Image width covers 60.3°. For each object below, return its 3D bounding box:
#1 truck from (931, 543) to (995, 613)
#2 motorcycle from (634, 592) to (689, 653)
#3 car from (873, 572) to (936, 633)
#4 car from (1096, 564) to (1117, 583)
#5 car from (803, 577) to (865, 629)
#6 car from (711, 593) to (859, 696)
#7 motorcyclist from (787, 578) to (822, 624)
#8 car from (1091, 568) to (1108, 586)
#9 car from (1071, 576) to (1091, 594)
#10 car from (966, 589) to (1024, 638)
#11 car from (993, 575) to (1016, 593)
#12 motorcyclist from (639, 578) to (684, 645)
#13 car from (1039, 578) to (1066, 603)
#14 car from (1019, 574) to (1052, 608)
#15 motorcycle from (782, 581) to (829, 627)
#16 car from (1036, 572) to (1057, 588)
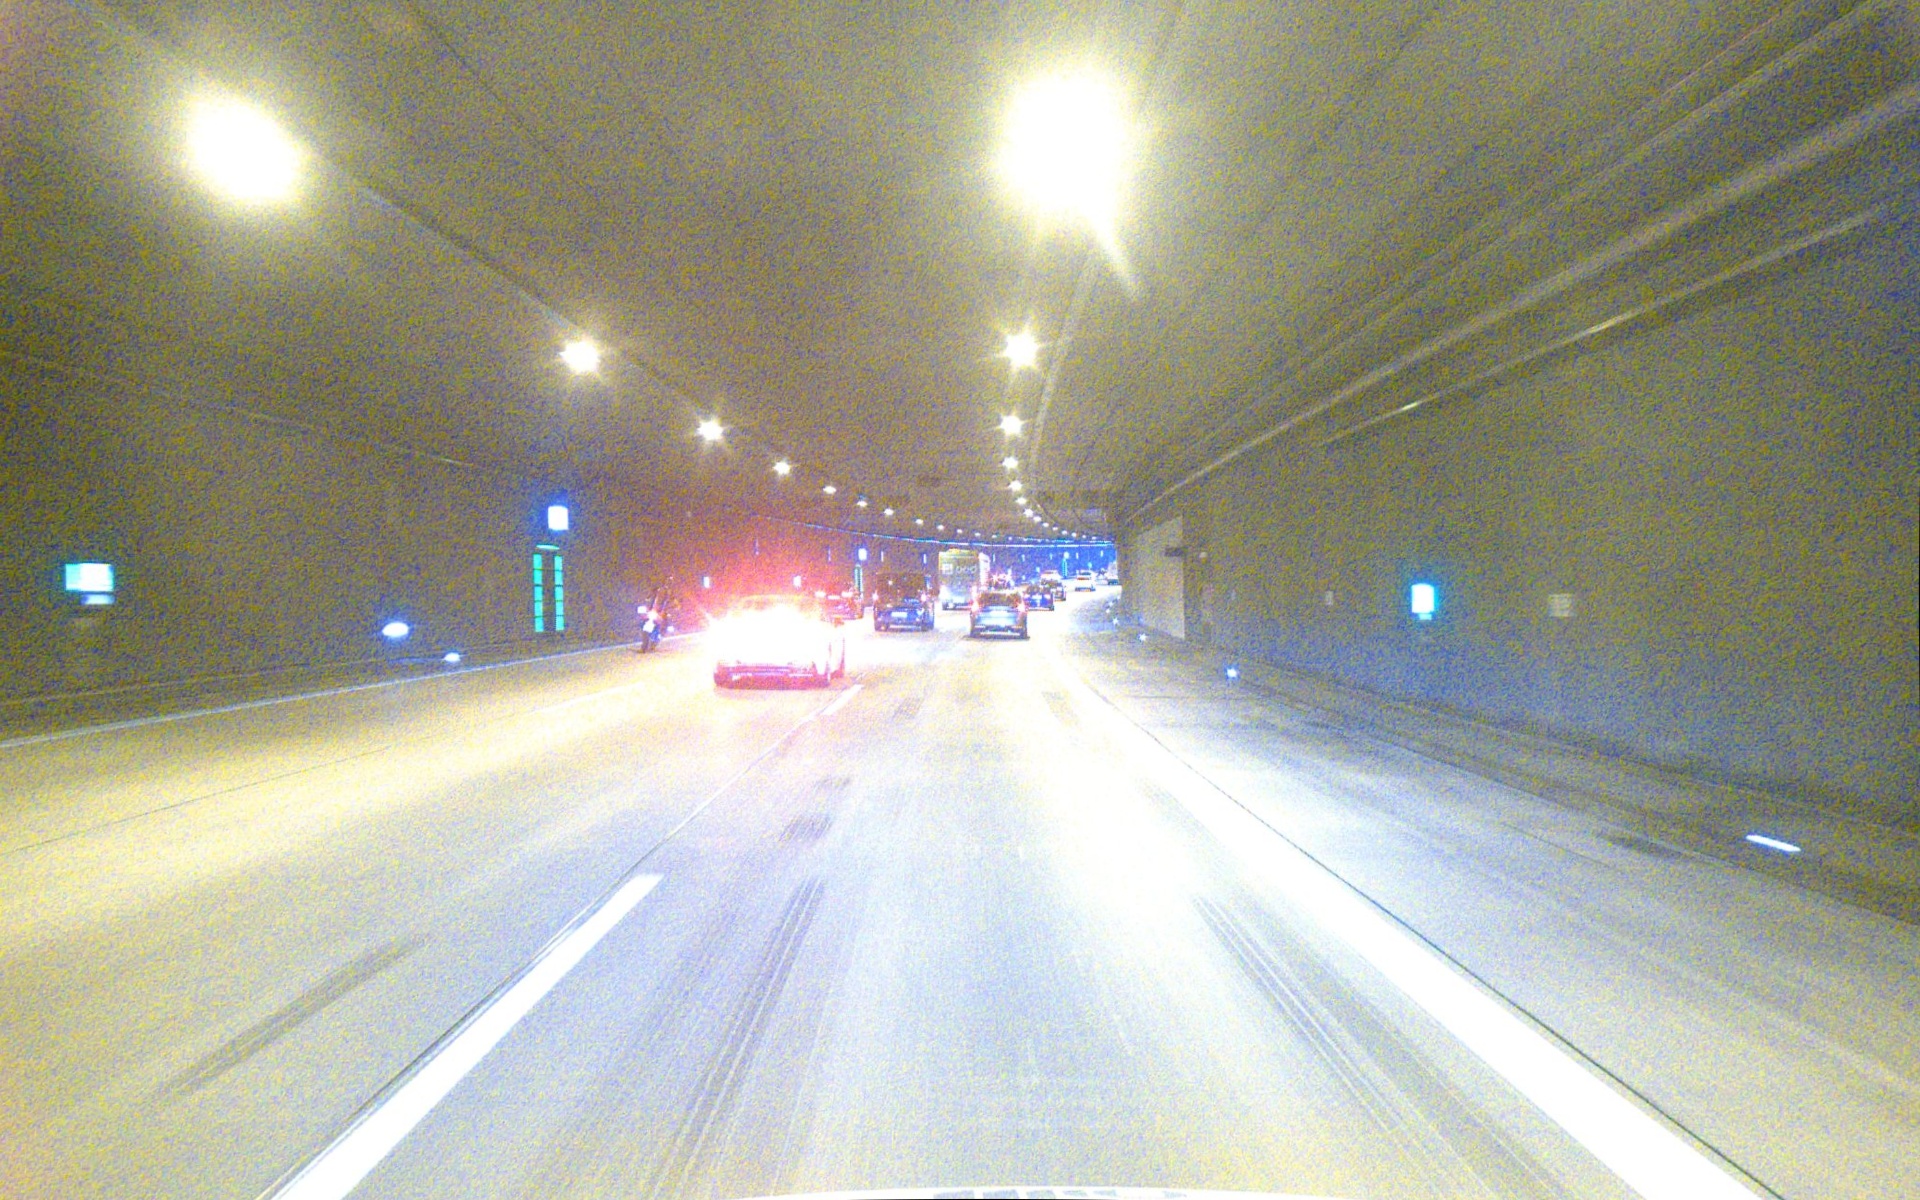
[{"bbox_3d":[0.252,-1.215,93.531,2.975,3.737,7.397,1,0,5],"label":"truck"},{"bbox_3d":[-6.663,0.494,37.021,0.668,1.319,2.399,1,0,2],"label":"motorcycle"},{"bbox_3d":[-1.877,0.051,57.099,1.870,1.978,3.873,0,2,3],"label":"car"},{"bbox_3d":[16.783,-2.989,189.942,1.951,2.049,4.003,1,-1,11],"label":"car"},{"bbox_3d":[-5.133,0.113,67.791,1.952,2.049,4.002,1,0,3],"label":"car"},{"bbox_3d":[-2.756,0.649,27.070,1.666,1.443,5.062,0,1,3],"label":"car"},{"bbox_3d":[-5.111,0.058,54.551,0.789,1.473,1.866,1,-1,6],"label":"motorcyclist"},{"bbox_3d":[17.091,-2.780,202.969,1.951,2.049,4.002,1,0,6],"label":"car"},{"bbox_3d":[11.662,-1.414,159.289,1.890,1.671,4.002,1,0,3],"label":"car"},{"bbox_3d":[1.120,0.420,51.627,1.706,1.490,3.872,0,0,2],"label":"car"},{"bbox_3d":[4.097,-1.465,152.777,1.890,1.671,4.002,1,0,5],"label":"car"},{"bbox_3d":[-6.677,0.259,36.984,0.761,1.478,1.069,1,-1,2],"label":"motorcyclist"},{"bbox_3d":[6.801,-0.678,121.230,1.909,1.803,4.001,1,0,3],"label":"car"},{"bbox_3d":[4.298,-0.521,93.972,1.818,1.887,4.002,1,0,3],"label":"car"},{"bbox_3d":[-5.087,0.156,54.552,0.906,1.459,2.966,1,0,7],"label":"motorcycle"},{"bbox_3d":[9.722,-2.253,185.943,1.889,1.671,4.003,1,0,10],"label":"car"}]
